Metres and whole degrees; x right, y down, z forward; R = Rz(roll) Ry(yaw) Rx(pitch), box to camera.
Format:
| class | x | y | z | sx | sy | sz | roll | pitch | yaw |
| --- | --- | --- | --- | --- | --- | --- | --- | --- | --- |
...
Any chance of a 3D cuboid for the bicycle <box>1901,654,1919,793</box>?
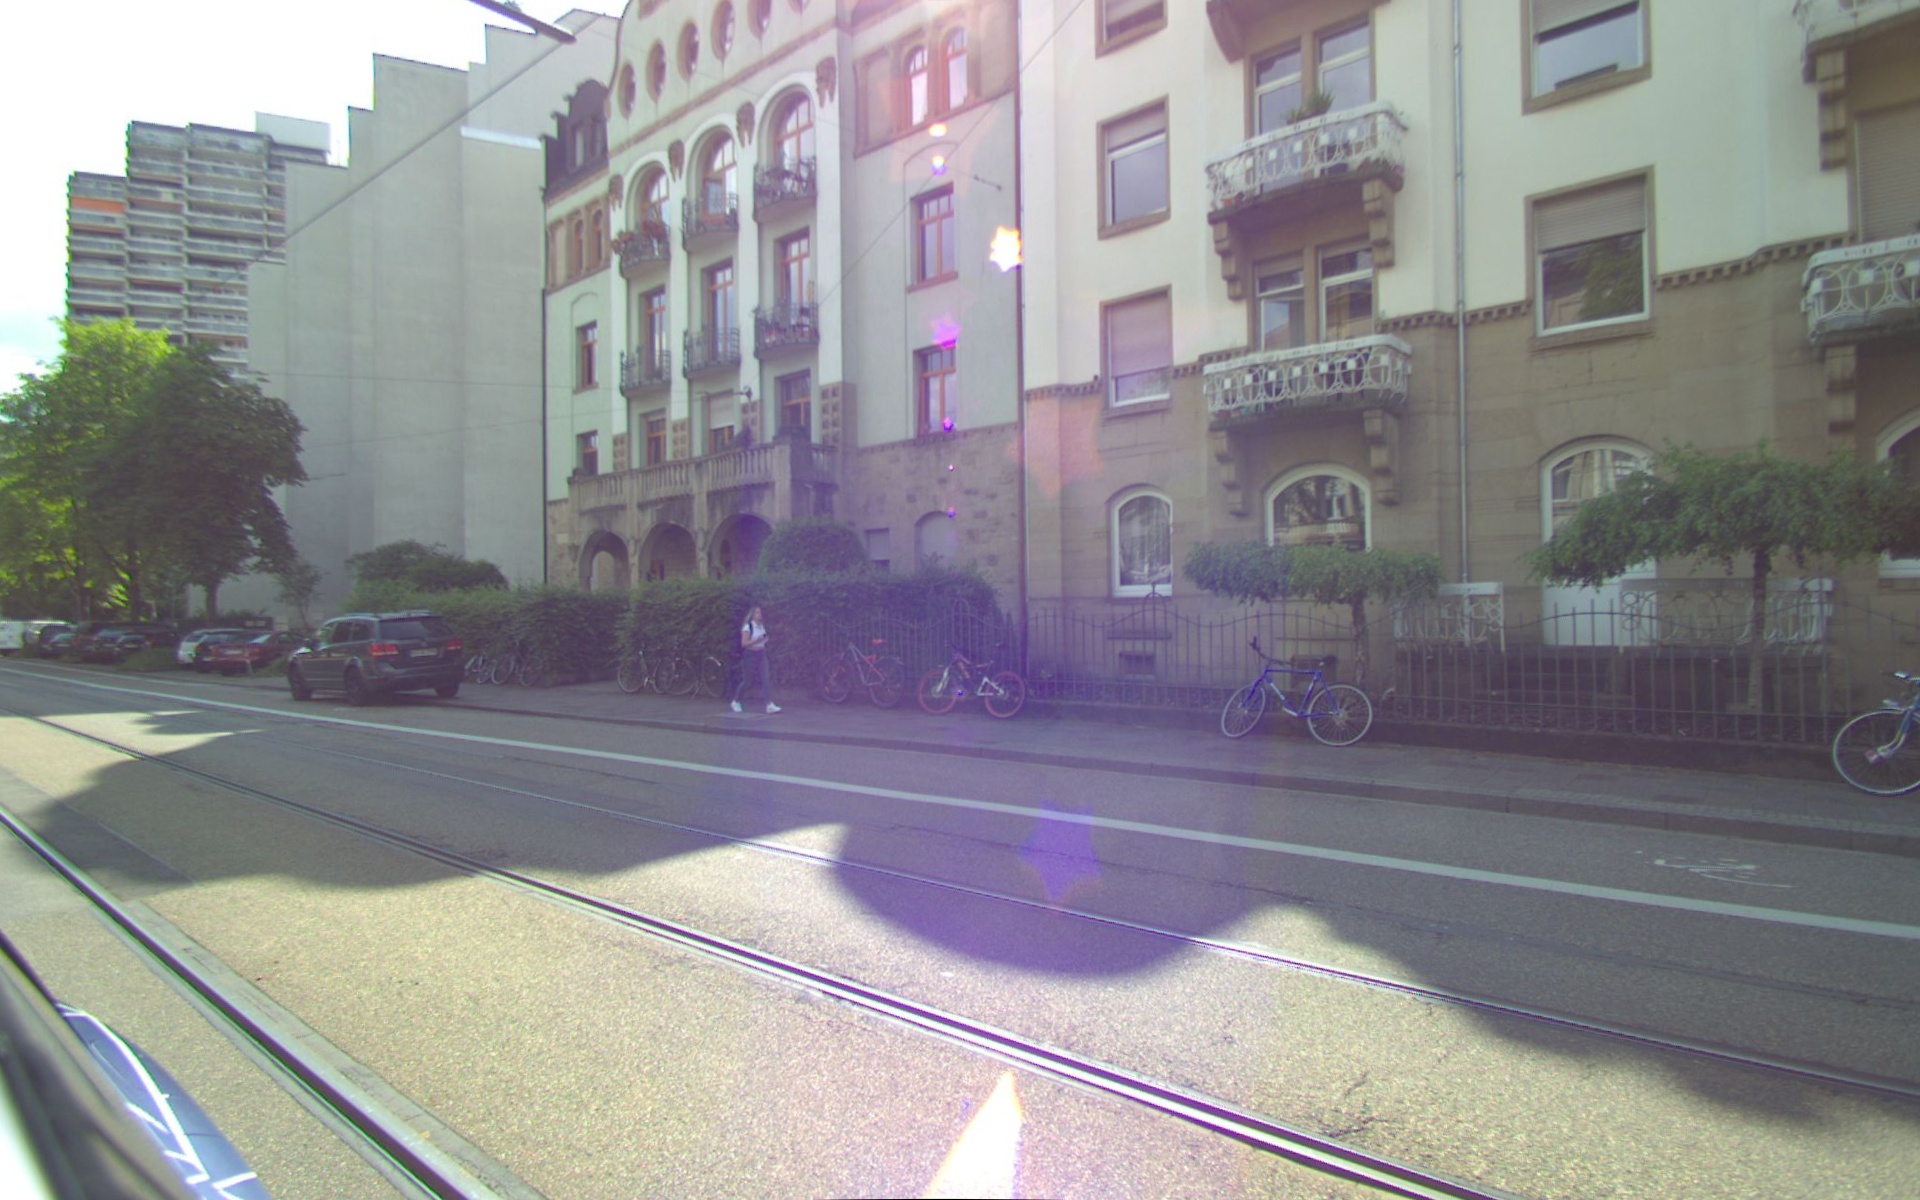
| class | x | y | z | sx | sy | sz | roll | pitch | yaw |
| --- | --- | --- | --- | --- | --- | --- | --- | --- | --- |
| bicycle | 7.666 | 0.911 | 6.893 | 0.505 | 0.966 | 1.817 | -3 | 3 | -43 |

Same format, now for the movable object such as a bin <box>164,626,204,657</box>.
| class | x | y | z | sx | sy | sz | roll | pitch | yaw |
| --- | --- | --- | --- | --- | --- | --- | --- | --- | --- |
| movable object such as a bin | -45.509 | 2.438 | 59.355 | 1.536 | 1.795 | 1.374 | -1 | -4 | 36 |

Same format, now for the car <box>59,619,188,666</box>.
| class | x | y | z | sx | sy | sz | roll | pitch | yaw |
| --- | --- | --- | --- | --- | --- | --- | --- | --- | --- |
| car | -37.492 | 1.933 | 45.585 | 1.887 | 1.969 | 5.175 | 1 | -3 | -6 |

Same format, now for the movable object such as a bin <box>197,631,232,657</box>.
| class | x | y | z | sx | sy | sz | roll | pitch | yaw |
| --- | --- | --- | --- | --- | --- | --- | --- | --- | --- |
| movable object such as a bin | -40.344 | 2.390 | 54.763 | 1.440 | 1.337 | 1.152 | -1 | -4 | 39 |

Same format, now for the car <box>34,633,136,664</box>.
| class | x | y | z | sx | sy | sz | roll | pitch | yaw |
| --- | --- | --- | --- | --- | --- | --- | --- | --- | --- |
| car | -42.419 | 2.384 | 49.197 | 1.733 | 1.428 | 4.005 | 1 | -3 | -6 |

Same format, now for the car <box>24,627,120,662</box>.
| class | x | y | z | sx | sy | sz | roll | pitch | yaw |
| --- | --- | --- | --- | --- | --- | --- | --- | --- | --- |
| car | -45.055 | 2.271 | 51.453 | 1.734 | 1.706 | 3.718 | 1 | -3 | -4 |

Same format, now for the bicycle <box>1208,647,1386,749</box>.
| class | x | y | z | sx | sy | sz | roll | pitch | yaw |
| --- | --- | --- | --- | --- | --- | --- | --- | --- | --- |
| bicycle | 3.479 | 0.985 | 10.554 | 1.705 | 0.966 | 0.422 | -2 | 0 | 42 |

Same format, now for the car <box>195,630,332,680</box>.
| class | x | y | z | sx | sy | sz | roll | pitch | yaw |
| --- | --- | --- | --- | --- | --- | --- | --- | --- | --- |
| car | -22.540 | 1.779 | 32.948 | 1.819 | 1.495 | 3.973 | 1 | -3 | -3 |

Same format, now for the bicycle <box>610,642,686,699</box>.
| class | x | y | z | sx | sy | sz | roll | pitch | yaw |
| --- | --- | --- | --- | --- | --- | --- | --- | --- | --- |
| bicycle | -5.724 | 1.267 | 18.496 | 1.920 | 0.966 | 0.379 | -2 | 0 | 42 |

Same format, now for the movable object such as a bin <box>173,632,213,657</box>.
| class | x | y | z | sx | sy | sz | roll | pitch | yaw |
| --- | --- | --- | --- | --- | --- | --- | --- | --- | --- |
| movable object such as a bin | -44.145 | 2.558 | 58.255 | 1.536 | 1.374 | 1.374 | -1 | -4 | 36 |

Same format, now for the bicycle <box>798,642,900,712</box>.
| class | x | y | z | sx | sy | sz | roll | pitch | yaw |
| --- | --- | --- | --- | --- | --- | --- | --- | --- | --- |
| bicycle | -1.680 | 1.125 | 15.106 | 1.800 | 0.966 | 0.379 | -2 | 0 | 42 |

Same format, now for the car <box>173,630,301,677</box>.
| class | x | y | z | sx | sy | sz | roll | pitch | yaw |
| --- | --- | --- | --- | --- | --- | --- | --- | --- | --- |
| car | -24.909 | 1.846 | 35.026 | 1.674 | 1.495 | 3.806 | 1 | -3 | 0 |

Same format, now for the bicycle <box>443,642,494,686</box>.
| class | x | y | z | sx | sy | sz | roll | pitch | yaw |
| --- | --- | --- | --- | --- | --- | --- | --- | --- | --- |
| bicycle | -11.311 | 1.461 | 23.265 | 1.809 | 0.966 | 0.379 | -2 | 0 | 42 |

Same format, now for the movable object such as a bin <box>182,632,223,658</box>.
| class | x | y | z | sx | sy | sz | roll | pitch | yaw |
| --- | --- | --- | --- | --- | --- | --- | --- | --- | --- |
| movable object such as a bin | -42.841 | 2.555 | 57.235 | 1.536 | 1.374 | 1.374 | -1 | -4 | 36 |

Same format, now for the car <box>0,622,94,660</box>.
| class | x | y | z | sx | sy | sz | roll | pitch | yaw |
| --- | --- | --- | --- | --- | --- | --- | --- | --- | --- |
| car | -52.221 | 2.302 | 57.605 | 1.940 | 2.012 | 4.687 | -1 | -2 | -2 |

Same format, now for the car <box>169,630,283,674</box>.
| class | x | y | z | sx | sy | sz | roll | pitch | yaw |
| --- | --- | --- | --- | --- | --- | --- | --- | --- | --- |
| car | -27.102 | 1.931 | 37.508 | 1.672 | 1.495 | 3.811 | 1 | -3 | -6 |

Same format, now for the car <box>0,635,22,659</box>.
| class | x | y | z | sx | sy | sz | roll | pitch | yaw |
| --- | --- | --- | --- | --- | --- | --- | --- | --- | --- |
| car | -63.572 | 3.080 | 65.854 | 1.715 | 1.535 | 3.891 | -1 | -1 | -7 |

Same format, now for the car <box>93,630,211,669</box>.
| class | x | y | z | sx | sy | sz | roll | pitch | yaw |
| --- | --- | --- | --- | --- | --- | --- | --- | --- | --- |
| car | -32.762 | 2.013 | 41.188 | 1.715 | 1.495 | 4.002 | 1 | -3 | -3 |

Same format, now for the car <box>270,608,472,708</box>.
| class | x | y | z | sx | sy | sz | roll | pitch | yaw |
| --- | --- | --- | --- | --- | --- | --- | --- | --- | --- |
| car | -11.766 | 1.100 | 20.075 | 4.875 | 1.776 | 1.768 | -2 | -2 | 38 |

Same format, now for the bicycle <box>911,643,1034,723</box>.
| class | x | y | z | sx | sy | sz | roll | pitch | yaw |
| --- | --- | --- | --- | --- | --- | --- | --- | --- | --- |
| bicycle | 0.133 | 1.074 | 13.404 | 1.800 | 0.983 | 0.379 | -2 | 0 | 42 |

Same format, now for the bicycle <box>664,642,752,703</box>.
| class | x | y | z | sx | sy | sz | roll | pitch | yaw |
| --- | --- | --- | --- | --- | --- | --- | --- | --- | --- |
| bicycle | -4.308 | 1.217 | 17.223 | 1.799 | 0.966 | 0.446 | -2 | 0 | 40 |

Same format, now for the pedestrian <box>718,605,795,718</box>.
| class | x | y | z | sx | sy | sz | roll | pitch | yaw |
| --- | --- | --- | --- | --- | --- | --- | --- | --- | --- |
| pedestrian | -2.990 | 0.877 | 14.867 | 0.882 | 1.580 | 0.673 | -2 | 0 | 42 |

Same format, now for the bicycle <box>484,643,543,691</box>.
| class | x | y | z | sx | sy | sz | roll | pitch | yaw |
| --- | --- | --- | --- | --- | --- | --- | --- | --- | --- |
| bicycle | -9.606 | 1.419 | 21.748 | 1.920 | 0.966 | 0.379 | -2 | 0 | 42 |

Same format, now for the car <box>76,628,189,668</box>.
| class | x | y | z | sx | sy | sz | roll | pitch | yaw |
| --- | --- | --- | --- | --- | --- | --- | --- | --- | --- |
| car | -35.142 | 2.042 | 43.123 | 1.715 | 1.605 | 4.004 | 1 | -3 | -5 |
